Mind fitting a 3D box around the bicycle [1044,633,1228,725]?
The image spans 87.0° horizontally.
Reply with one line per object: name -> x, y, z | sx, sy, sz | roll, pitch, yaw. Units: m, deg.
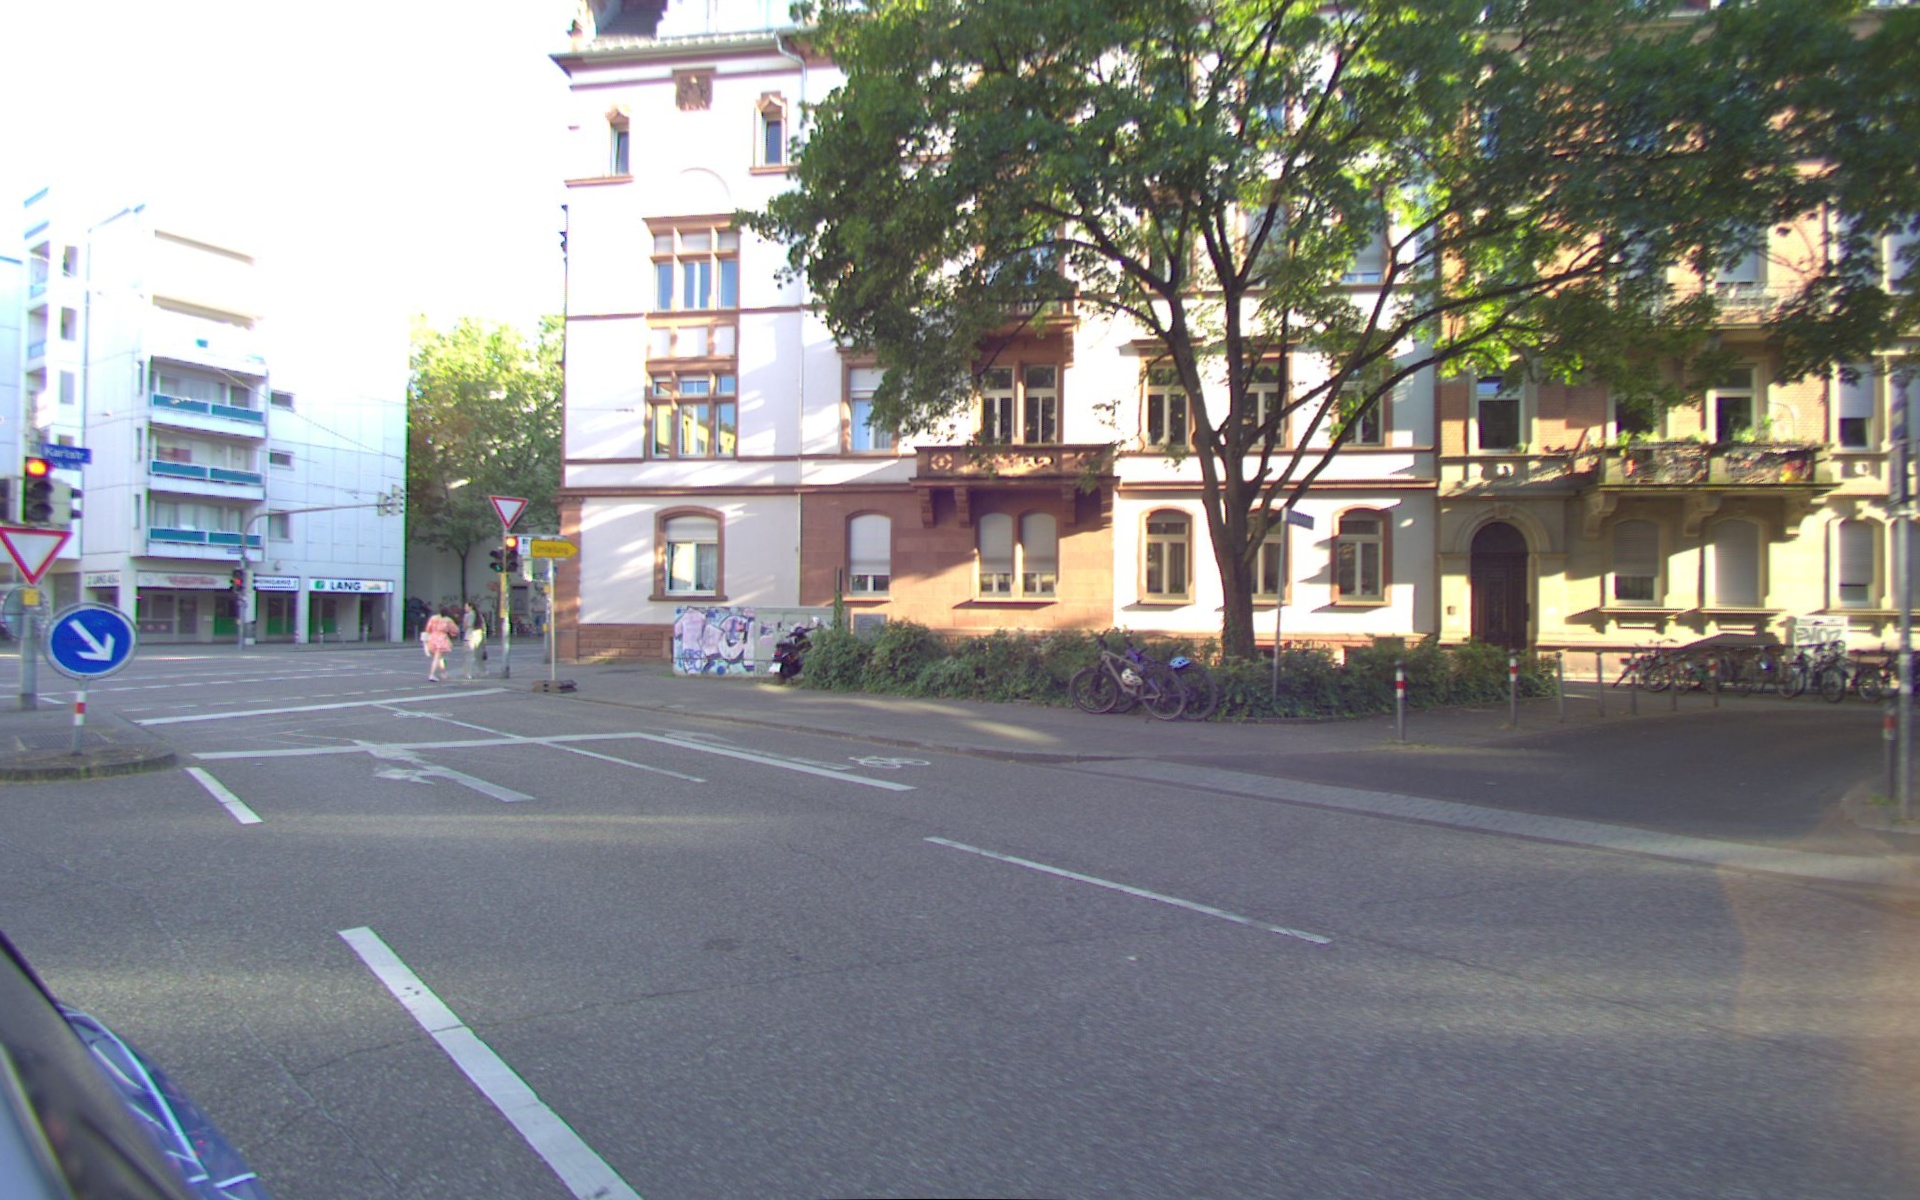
bicycle -> 2.509, 1.103, 14.895 | 0.539, 1.205, 2.962 | 2, -2, -42

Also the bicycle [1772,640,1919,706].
bicycle -> 18.066, 1.443, 20.729 | 0.743, 1.189, 3.128 | 0, -2, 8

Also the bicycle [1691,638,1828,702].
bicycle -> 16.485, 1.398, 21.002 | 0.743, 1.189, 3.128 | 0, -2, 8

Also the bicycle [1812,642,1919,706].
bicycle -> 18.859, 1.467, 20.608 | 0.743, 1.189, 3.128 | 0, -2, 8

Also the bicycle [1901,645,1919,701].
bicycle -> 20.500, 1.516, 20.284 | 0.743, 1.189, 3.128 | 0, -2, 8

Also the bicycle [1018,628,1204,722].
bicycle -> 2.081, 1.021, 14.497 | 0.539, 1.205, 2.962 | 2, -2, -42

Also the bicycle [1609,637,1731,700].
bicycle -> 14.833, 1.392, 21.283 | 0.743, 1.189, 3.128 | 0, -2, 8

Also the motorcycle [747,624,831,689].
motorcycle -> -3.519, 1.154, 21.072 | 0.836, 1.275, 2.097 | 0, -2, 18

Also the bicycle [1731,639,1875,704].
bicycle -> 17.254, 1.418, 20.858 | 0.743, 1.189, 3.128 | 0, -2, 8

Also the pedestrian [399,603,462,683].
pedestrian -> -11.678, 0.940, 22.354 | 0.857, 1.710, 0.984 | 1, -2, -2

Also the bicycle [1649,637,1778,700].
bicycle -> 15.660, 1.382, 21.162 | 0.743, 1.189, 3.128 | 0, -2, 8

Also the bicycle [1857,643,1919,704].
bicycle -> 19.674, 1.491, 20.416 | 0.743, 1.189, 3.128 | 0, -2, 8

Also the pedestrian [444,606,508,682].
pedestrian -> -11.145, 1.006, 23.307 | 0.976, 1.710, 0.864 | 0, -2, 18
